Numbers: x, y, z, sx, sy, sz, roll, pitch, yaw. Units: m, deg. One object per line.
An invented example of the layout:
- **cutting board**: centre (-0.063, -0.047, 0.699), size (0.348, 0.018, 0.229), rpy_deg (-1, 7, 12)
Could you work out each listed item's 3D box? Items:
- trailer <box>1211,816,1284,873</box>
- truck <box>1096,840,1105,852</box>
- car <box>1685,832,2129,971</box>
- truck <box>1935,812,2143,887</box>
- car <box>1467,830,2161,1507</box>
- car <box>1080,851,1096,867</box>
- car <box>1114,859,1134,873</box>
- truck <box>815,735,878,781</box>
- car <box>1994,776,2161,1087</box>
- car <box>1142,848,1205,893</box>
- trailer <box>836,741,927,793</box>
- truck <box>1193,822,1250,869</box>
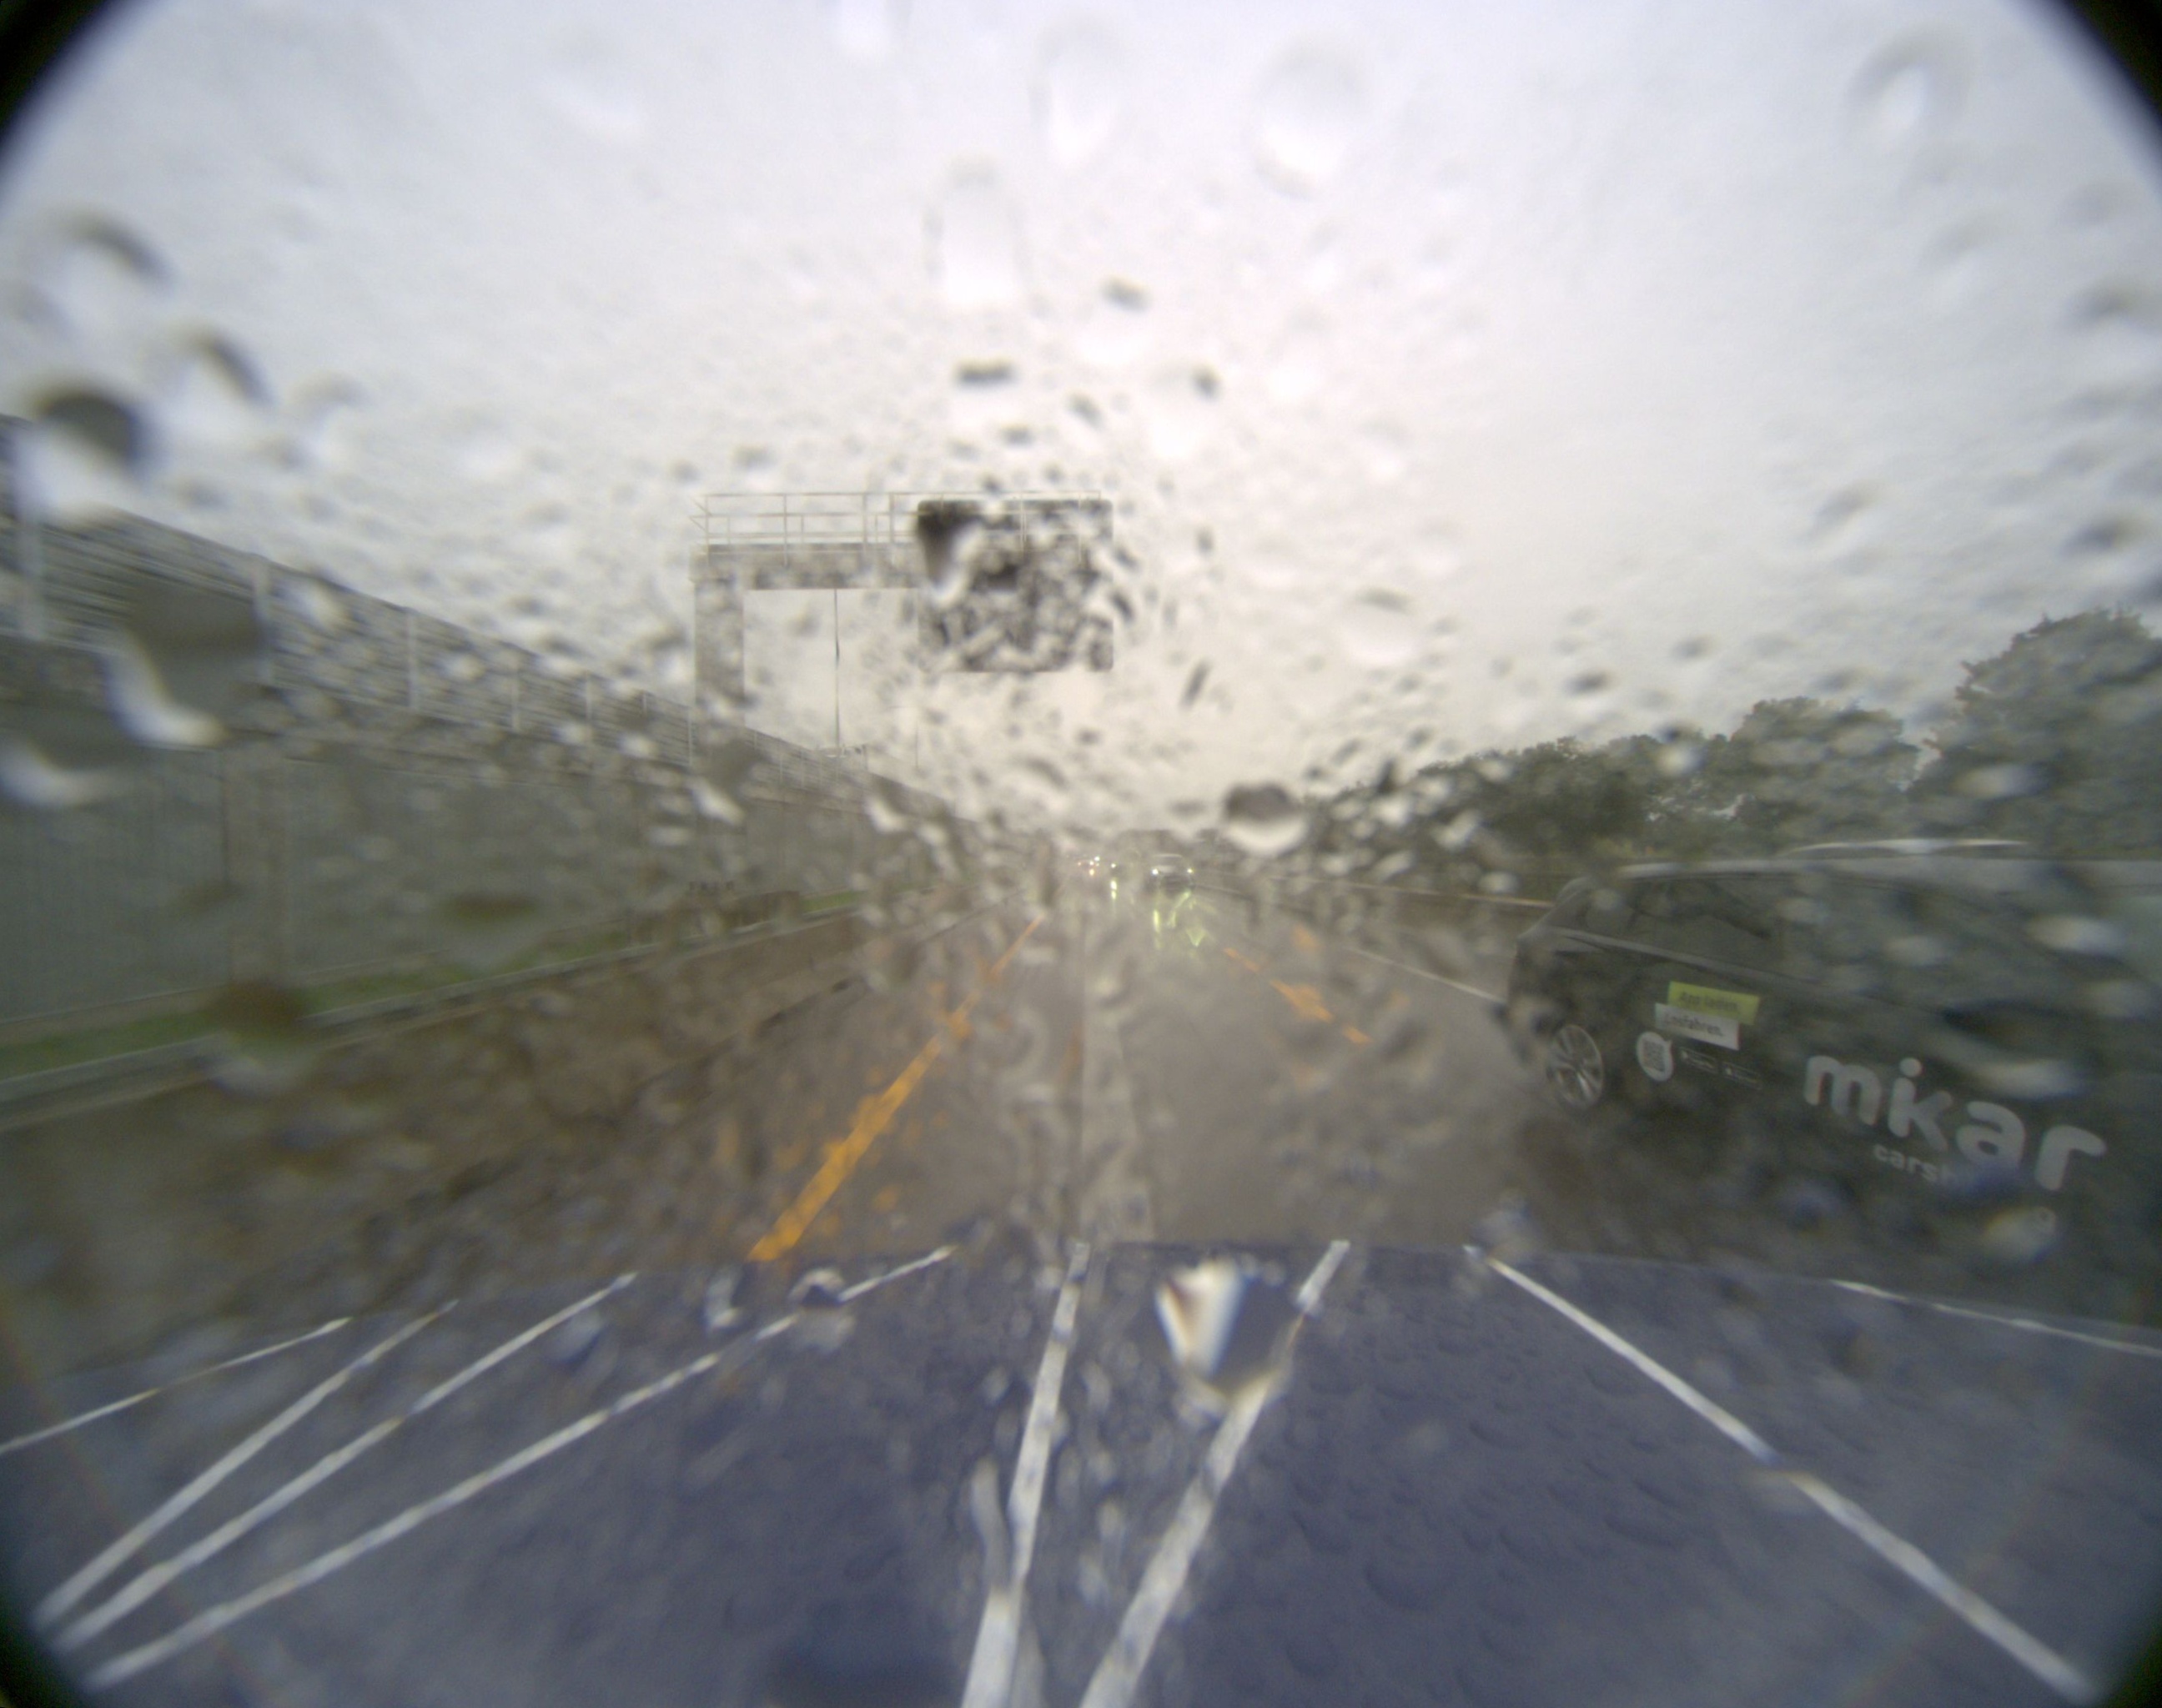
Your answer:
- **trailer**: centre (10.738, -0.579, 50.074), size (2.668, 3.343, 9.714), rpy_deg (-2, 0, 1)
- **truck**: centre (6.774, -2.895, 266.114), size (3.013, 4.143, 9.827), rpy_deg (-1, 2, -1)
- **car**: centre (10.219, 0.486, 9.921), size (1.573, 1.427, 3.893), rpy_deg (-1, 0, 0)
- **truck**: centre (45.170, -0.265, 36.157), size (2.619, 3.195, 5.867), rpy_deg (-2, 2, 3)
- **car**: centre (3.404, 0.692, 2.384), size (1.944, 1.519, 4.795), rpy_deg (-1, 0, 0)
- **car**: centre (0.905, 0.610, 97.865), size (1.998, 1.762, 3.999), rpy_deg (-2, 2, 0)
- **car**: centre (3.534, 0.953, 62.197), size (1.335, 1.105, 3.198), rpy_deg (1, 0, -2)
- **truck**: centre (-12.520, -5.091, 40.790), size (1.998, 2.002, 4.057), rpy_deg (-2, 2, 1)
- **car**: centre (6.771, 0.409, 2.475), size (1.903, 1.677, 4.740), rpy_deg (-1, 0, 0)
- **car**: centre (3.891, 0.643, 32.545), size (1.972, 1.671, 3.998), rpy_deg (-2, 2, -3)
- **trailer**: centre (-12.469, -5.368, 49.017), size (1.998, 2.094, 13.764), rpy_deg (-2, 2, 1)
- **truck**: centre (10.867, -0.623, 59.715), size (2.646, 3.328, 9.552), rpy_deg (-2, 0, 1)
